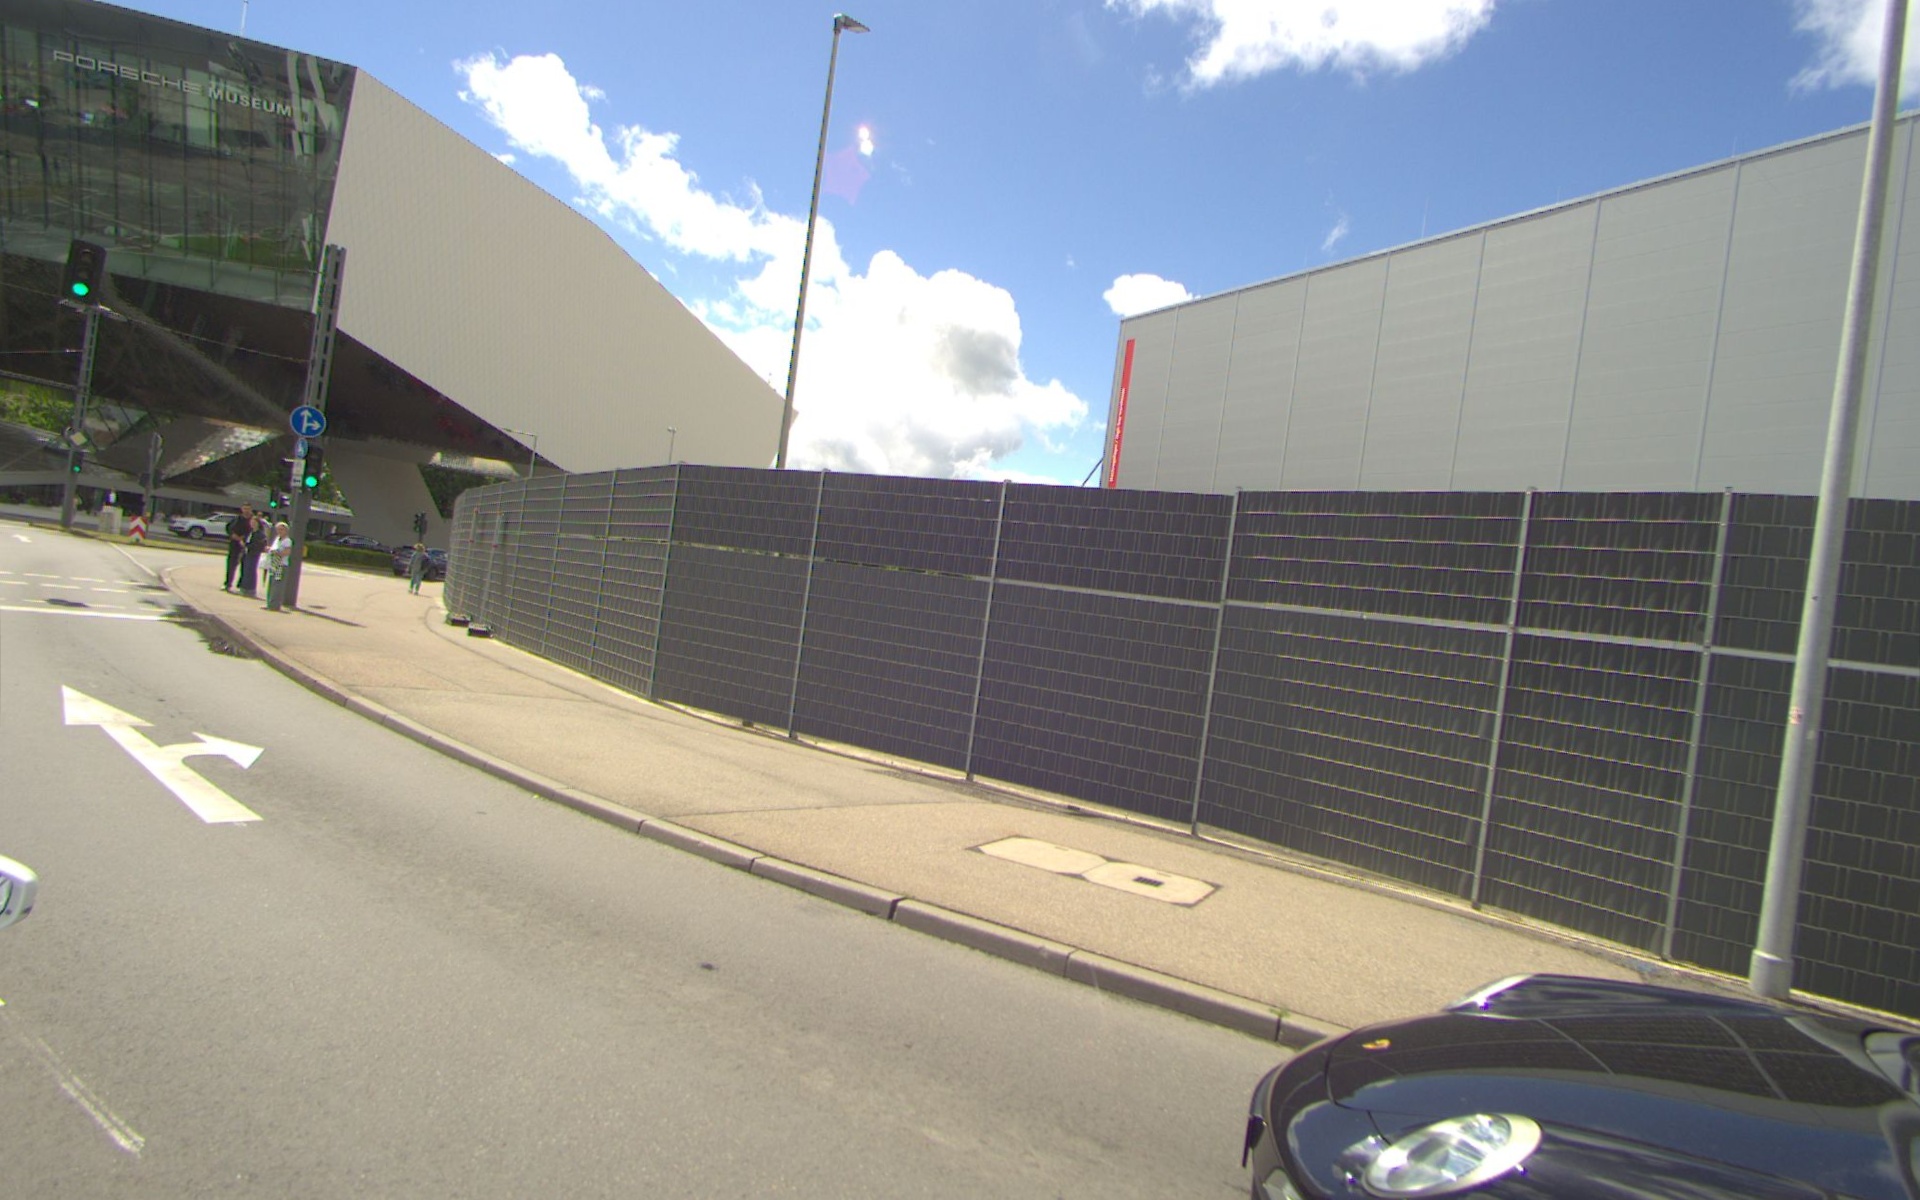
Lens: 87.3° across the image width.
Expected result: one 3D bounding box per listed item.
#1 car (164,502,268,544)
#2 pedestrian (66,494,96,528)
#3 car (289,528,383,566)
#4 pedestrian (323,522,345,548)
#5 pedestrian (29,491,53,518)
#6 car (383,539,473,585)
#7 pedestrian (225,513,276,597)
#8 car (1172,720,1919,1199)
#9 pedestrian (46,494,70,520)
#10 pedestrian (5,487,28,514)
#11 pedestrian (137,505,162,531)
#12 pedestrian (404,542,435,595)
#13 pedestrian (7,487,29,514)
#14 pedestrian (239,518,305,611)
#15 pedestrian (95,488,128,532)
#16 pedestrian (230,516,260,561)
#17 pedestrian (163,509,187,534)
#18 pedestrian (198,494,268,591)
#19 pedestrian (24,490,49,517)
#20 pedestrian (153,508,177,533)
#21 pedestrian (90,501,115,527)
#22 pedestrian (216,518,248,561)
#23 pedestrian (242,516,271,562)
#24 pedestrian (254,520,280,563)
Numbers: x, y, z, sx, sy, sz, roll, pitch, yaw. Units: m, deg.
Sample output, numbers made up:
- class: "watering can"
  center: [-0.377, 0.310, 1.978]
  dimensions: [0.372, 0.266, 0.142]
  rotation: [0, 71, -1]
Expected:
- class: "car"
  center: [-39.219, -4.043, 53.100]
  dimensions: [1.809, 1.569, 3.989]
  rotation: [6, 0, 34]
- class: "pedestrian"
  center: [-42.554, -4.307, 48.713]
  dimensions: [0.758, 1.513, 0.583]
  rotation: [7, -1, -4]
- class: "car"
  center: [-35.893, -3.030, 57.962]
  dimensions: [1.805, 1.399, 4.159]
  rotation: [9, -1, 25]
- class: "pedestrian"
  center: [-44.767, -4.640, 71.946]
  dimensions: [0.906, 1.695, 0.831]
  rotation: [7, -1, 19]
- class: "pedestrian"
  center: [-60.127, -6.256, 65.843]
  dimensions: [0.915, 1.591, 0.823]
  rotation: [8, -1, -35]
- class: "car"
  center: [-26.755, -1.896, 50.762]
  dimensions: [1.962, 1.722, 4.005]
  rotation: [7, -2, 5]
- class: "pedestrian"
  center: [-14.759, -0.932, 20.926]
  dimensions: [0.652, 1.634, 0.465]
  rotation: [7, -1, 31]
- class: "car"
  center: [2.577, 1.255, 1.704]
  dimensions: [3.934, 1.340, 1.838]
  rotation: [8, -2, 33]
- class: "pedestrian"
  center: [-60.049, -6.198, 66.995]
  dimensions: [0.783, 1.591, 0.692]
  rotation: [7, -1, -11]
- class: "pedestrian"
  center: [-61.824, -6.482, 65.919]
  dimensions: [0.823, 1.591, 0.915]
  rotation: [8, -1, -35]
- class: "pedestrian"
  center: [-56.524, -5.734, 70.166]
  dimensions: [0.906, 1.591, 0.831]
  rotation: [7, -1, 19]
- class: "pedestrian"
  center: [-17.418, -1.016, 32.401]
  dimensions: [0.688, 1.604, 0.914]
  rotation: [8, -1, -30]
- class: "pedestrian"
  center: [-60.967, -6.425, 65.127]
  dimensions: [0.824, 1.591, 0.913]
  rotation: [8, -2, -40]
- class: "pedestrian"
  center: [-12.867, -0.668, 18.814]
  dimensions: [0.811, 1.627, 0.659]
  rotation: [6, -1, 39]
- class: "pedestrian"
  center: [-43.626, -4.630, 51.708]
  dimensions: [1.363, 2.009, 0.952]
  rotation: [9, 1, 44]
- class: "pedestrian"
  center: [-30.686, -2.634, 43.194]
  dimensions: [0.663, 1.815, 0.618]
  rotation: [7, -1, -15]
- class: "pedestrian"
  center: [-55.618, -5.542, 71.265]
  dimensions: [0.906, 1.591, 0.831]
  rotation: [7, -1, 19]
- class: "pedestrian"
  center: [-15.331, -1.206, 21.221]
  dimensions: [0.778, 1.888, 0.662]
  rotation: [7, -1, 14]
- class: "pedestrian"
  center: [-61.044, -6.352, 66.522]
  dimensions: [0.914, 1.591, 0.823]
  rotation: [8, -1, -33]
- class: "pedestrian"
  center: [-56.500, -5.669, 71.526]
  dimensions: [0.906, 1.591, 0.831]
  rotation: [7, -1, 19]
- class: "pedestrian"
  center: [-59.070, -5.942, 69.323]
  dimensions: [0.906, 1.591, 0.831]
  rotation: [7, -1, 19]
- class: "pedestrian"
  center: [-30.534, -2.519, 42.205]
  dimensions: [0.608, 1.657, 0.673]
  rotation: [7, -1, 1]
- class: "pedestrian"
  center: [-30.722, -2.652, 43.921]
  dimensions: [0.663, 1.868, 0.618]
  rotation: [8, -1, -17]
- class: "pedestrian"
  center: [-30.862, -2.602, 44.811]
  dimensions: [0.598, 1.780, 0.618]
  rotation: [7, -1, -16]
